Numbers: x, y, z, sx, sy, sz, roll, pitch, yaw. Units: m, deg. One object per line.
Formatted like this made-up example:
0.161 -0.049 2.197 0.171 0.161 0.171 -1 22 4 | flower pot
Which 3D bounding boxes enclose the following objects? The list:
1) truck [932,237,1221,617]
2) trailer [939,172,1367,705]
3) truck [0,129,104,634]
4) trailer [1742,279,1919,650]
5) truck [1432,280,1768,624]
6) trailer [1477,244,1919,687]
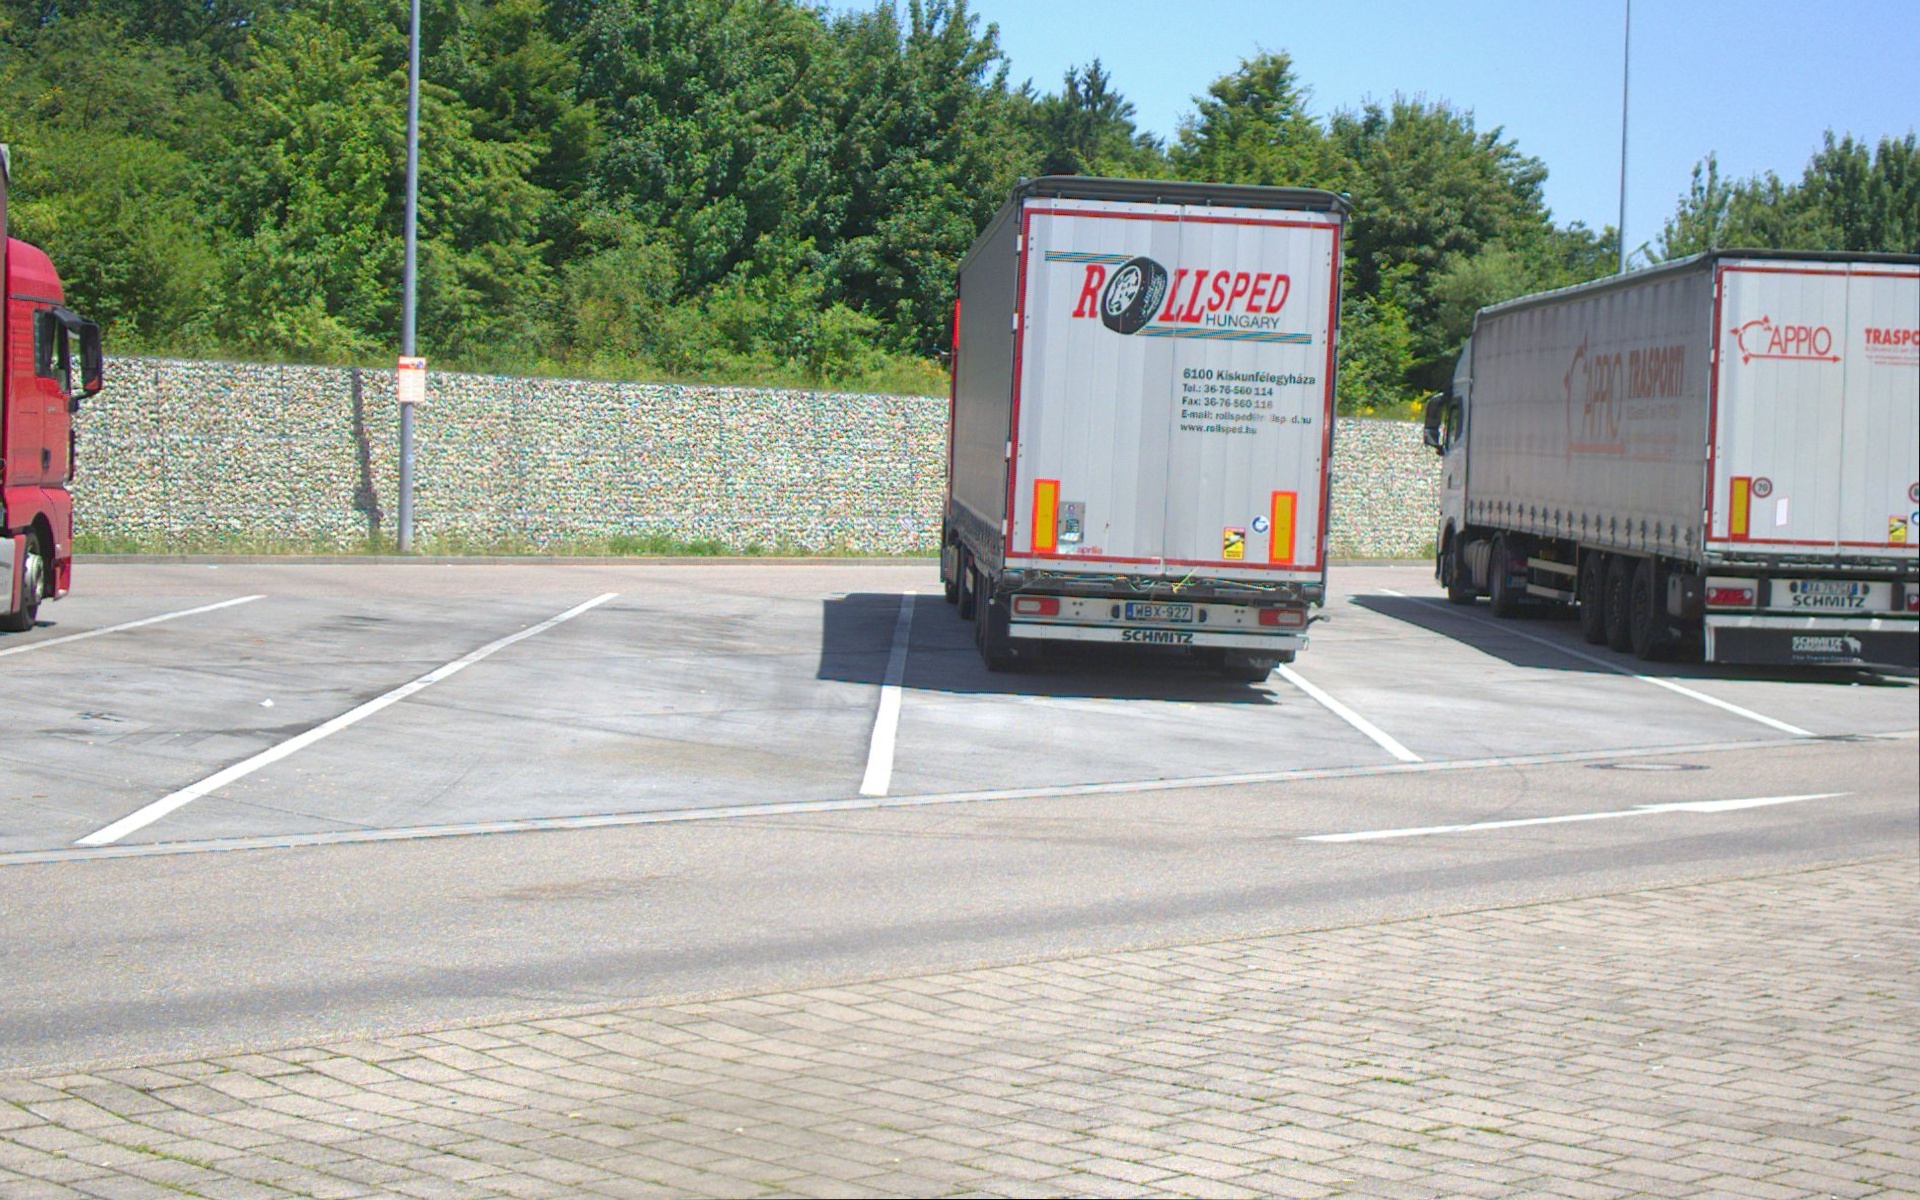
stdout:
1.229 -2.057 40.708 2.866 4.023 7.028 2 3 -2 | truck
1.441 -1.639 33.629 2.866 4.023 14.243 2 3 -2 | trailer
-9.147 -1.810 27.990 2.696 4.099 6.240 2 3 0 | truck
11.841 -1.536 39.030 2.866 4.023 12.439 2 3 0 | trailer
8.126 -1.956 44.593 2.866 4.023 6.957 2 3 0 | truck
8.185 -1.574 37.966 2.866 4.023 12.439 2 3 0 | trailer
